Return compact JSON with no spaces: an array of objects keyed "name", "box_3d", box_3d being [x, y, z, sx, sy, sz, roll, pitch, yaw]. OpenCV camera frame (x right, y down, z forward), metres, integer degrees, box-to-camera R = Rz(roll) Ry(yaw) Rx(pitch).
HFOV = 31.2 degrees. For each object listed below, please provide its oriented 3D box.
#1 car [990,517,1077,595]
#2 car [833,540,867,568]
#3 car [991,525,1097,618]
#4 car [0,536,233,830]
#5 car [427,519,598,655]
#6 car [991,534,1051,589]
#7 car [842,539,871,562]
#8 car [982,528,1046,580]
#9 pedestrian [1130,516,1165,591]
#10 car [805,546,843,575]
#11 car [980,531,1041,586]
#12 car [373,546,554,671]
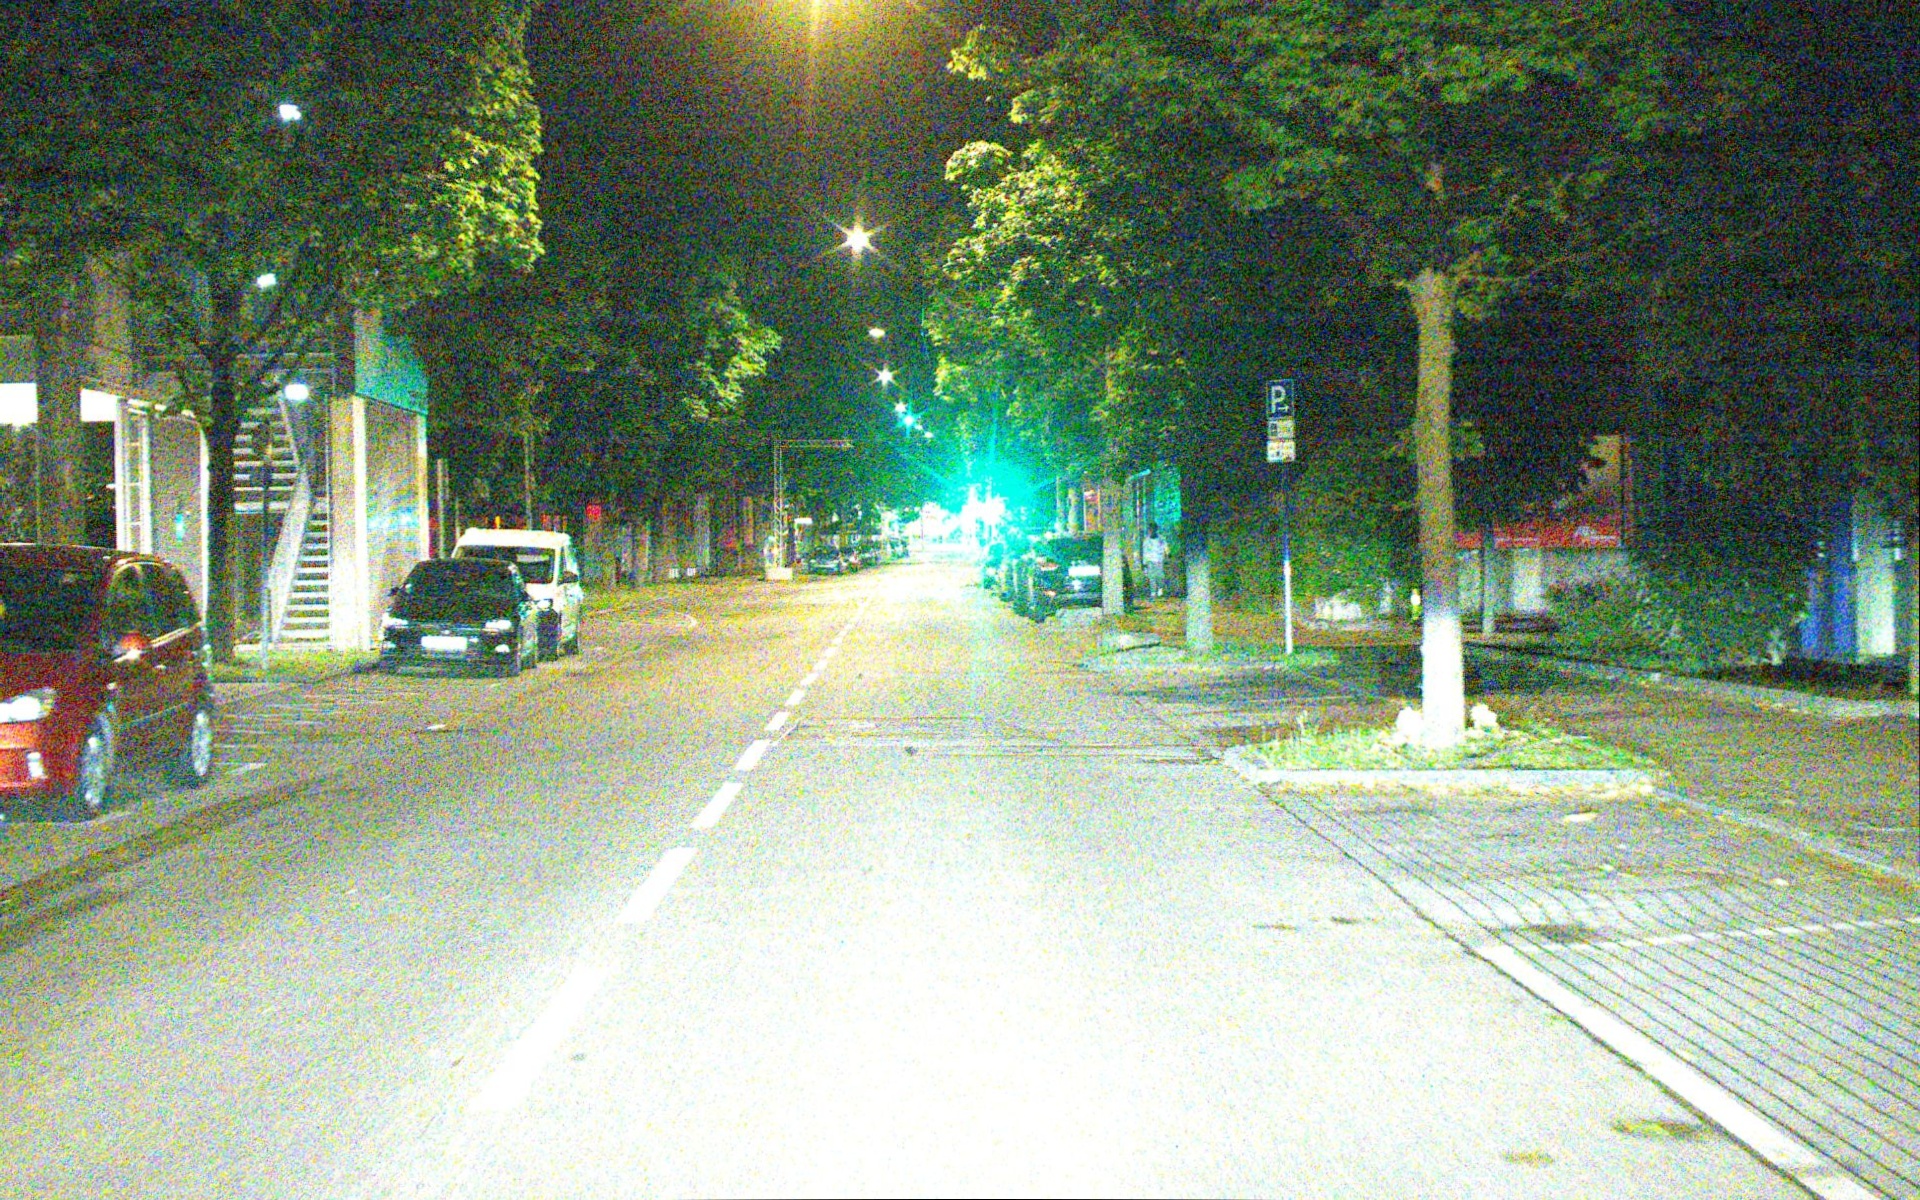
[{"name":"car","box_3d":[1.789,-1.091,84.820,1.771,1.800,4.278,-2,1,-3]},{"name":"car","box_3d":[-5.940,-2.515,186.265,1.740,1.411,3.753,0,3,0]},{"name":"car","box_3d":[1.539,-0.565,64.200,1.853,1.648,4.209,-1,1,0]},{"name":"car","box_3d":[-5.956,0.430,21.570,1.822,1.593,4.073,3,1,1]},{"name":"car","box_3d":[-6.423,-0.228,49.734,1.822,1.805,4.210,3,1,1]},{"name":"car","box_3d":[1.615,-1.054,92.595,1.520,1.391,3.984,-2,1,0]},{"name":"car","box_3d":[-6.485,-3.094,215.234,1.740,1.411,3.752,0,1,0]},{"name":"car","box_3d":[1.703,-1.460,108.818,1.853,1.585,4.301,-1,1,-1]},{"name":"pedestrian","box_3d":[4.353,-1.081,79.891,0.705,1.716,0.821,-2,1,0]},{"name":"car","box_3d":[-6.792,-1.997,172.224,1.740,1.411,3.752,0,1,0]},{"name":"car","box_3d":[1.471,-1.242,101.330,1.591,1.529,4.138,-2,1,-1]},{"name":"car","box_3d":[-6.276,0.073,43.800,1.700,1.428,3.828,3,1,0]}]
